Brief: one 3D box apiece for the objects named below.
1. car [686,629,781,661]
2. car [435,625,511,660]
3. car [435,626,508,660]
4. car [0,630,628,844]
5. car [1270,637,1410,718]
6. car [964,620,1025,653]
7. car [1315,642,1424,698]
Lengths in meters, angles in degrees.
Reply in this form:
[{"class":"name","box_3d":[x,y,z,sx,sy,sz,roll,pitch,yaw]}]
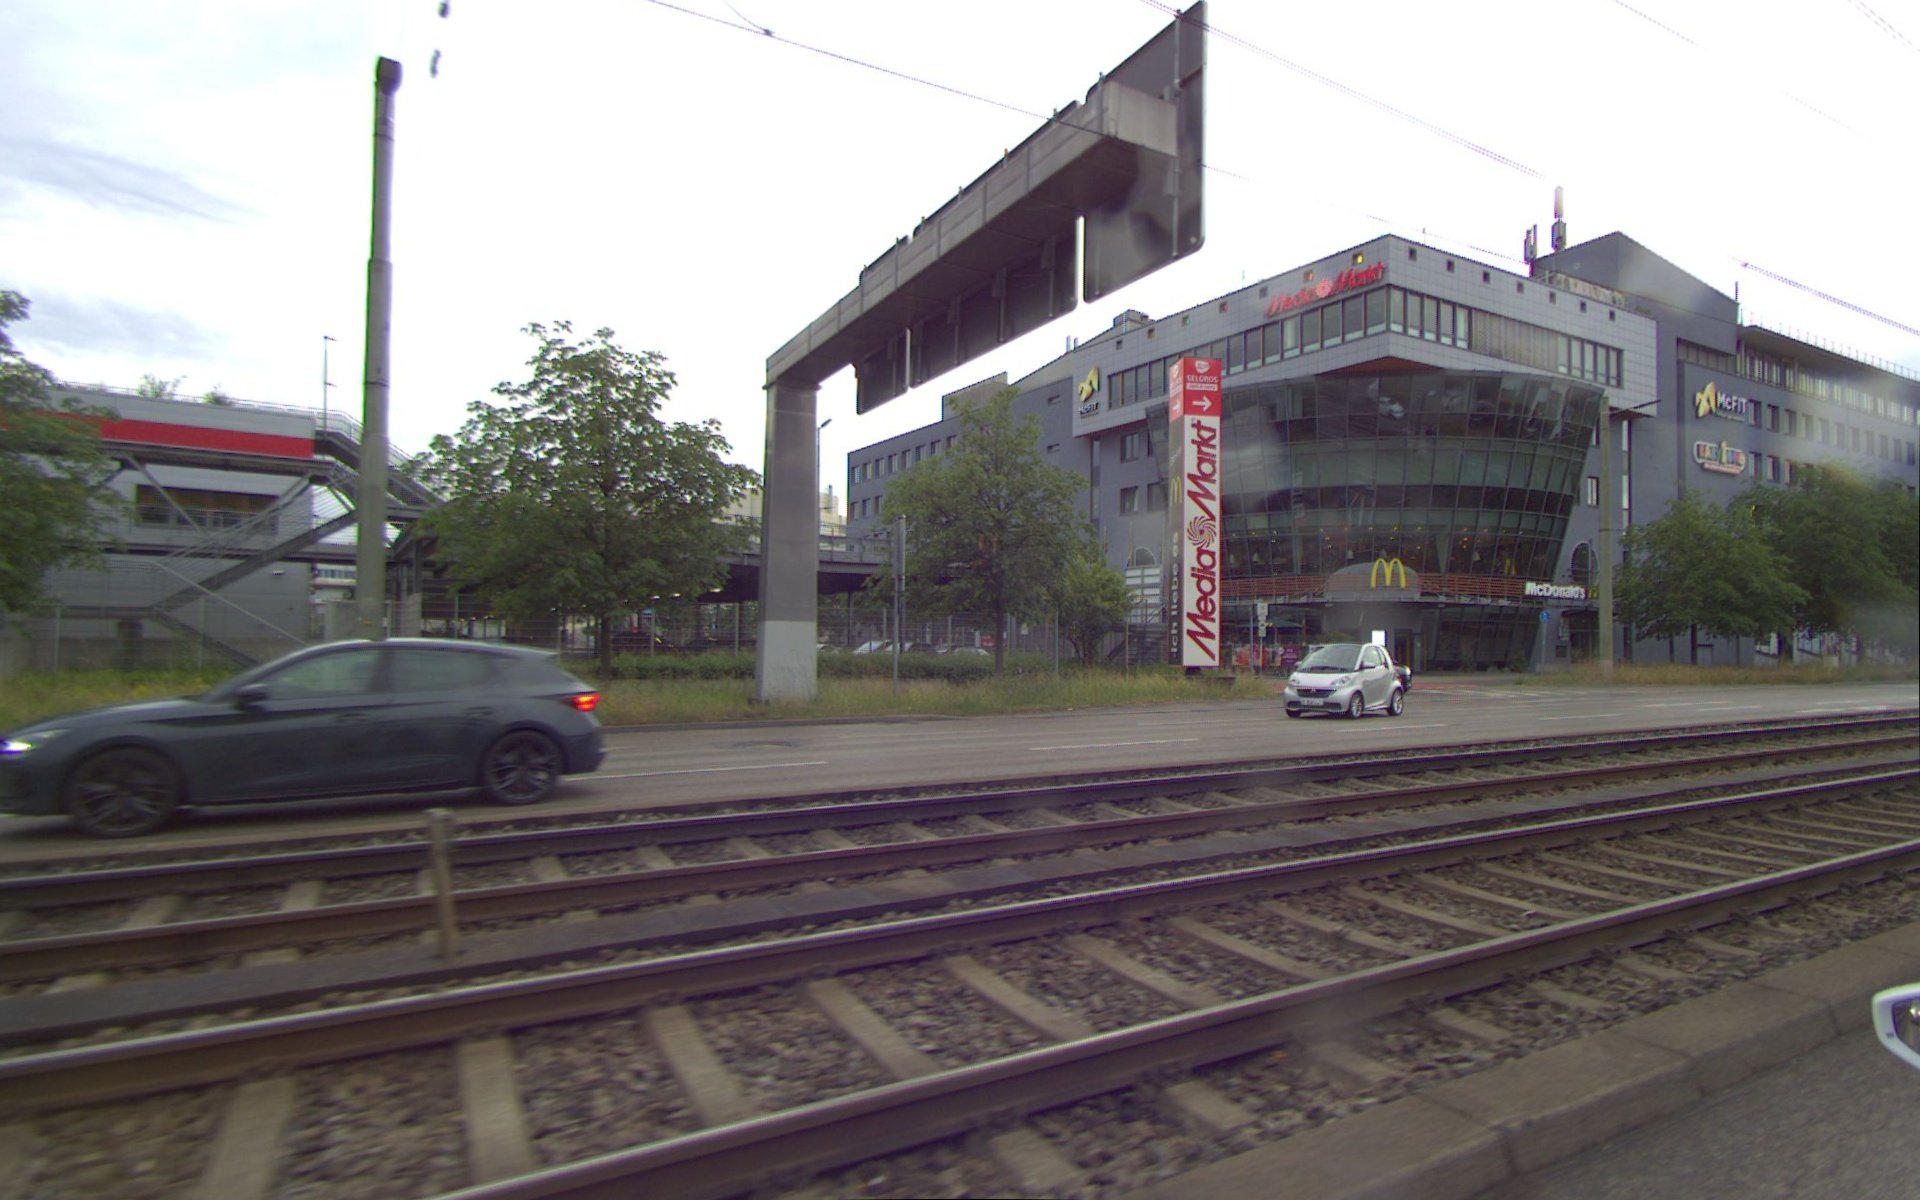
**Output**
[{"class":"car","box_3d":[-10.695,2.105,47.570,4.025,1.299,1.665,2,0,11]},{"class":"car","box_3d":[-29.285,2.561,60.382,3.953,2.040,1.984,2,-2,-30]},{"class":"car","box_3d":[-30.482,2.686,62.693,3.953,2.040,1.984,2,-2,-30]},{"class":"car","box_3d":[-5.216,1.011,8.653,4.189,1.447,1.793,1,-3,-32]},{"class":"car","box_3d":[7.973,1.575,21.000,2.930,1.557,1.583,2,-4,-43]},{"class":"car","box_3d":[2.170,2.334,64.360,1.980,2.040,3.961,2,-3,-35]},{"class":"car","box_3d":[13.533,2.303,33.499,1.960,1.758,4.214,0,-3,1]}]
